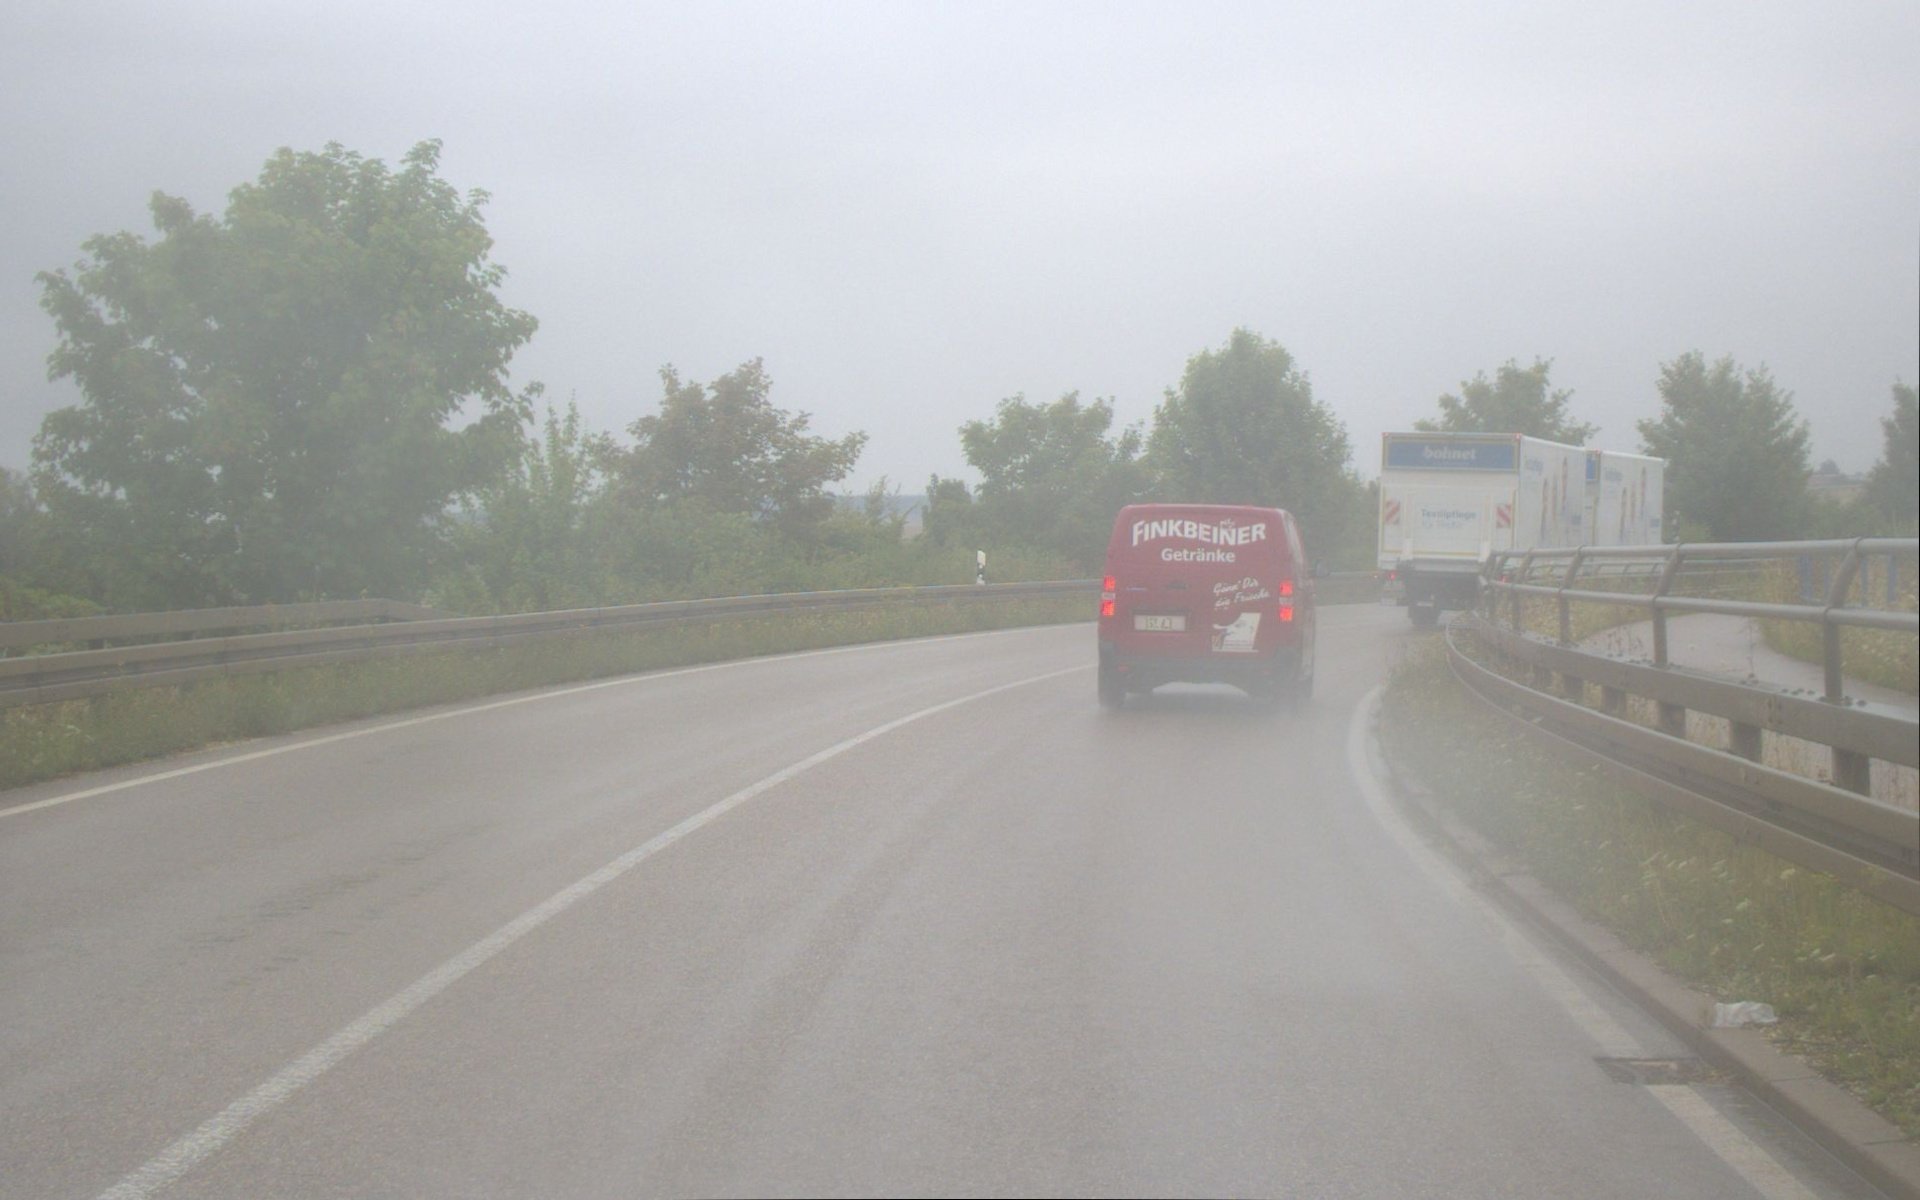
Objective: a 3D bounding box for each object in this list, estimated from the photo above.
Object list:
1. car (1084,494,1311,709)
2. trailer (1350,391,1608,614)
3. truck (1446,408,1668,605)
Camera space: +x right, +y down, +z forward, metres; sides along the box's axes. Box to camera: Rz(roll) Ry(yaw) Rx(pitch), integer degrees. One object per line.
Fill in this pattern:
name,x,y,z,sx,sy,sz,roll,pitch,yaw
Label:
car,2.328,-0.051,32.760,1.994,1.919,4.143,0,2,6
trailer,10.039,-1.823,65.604,3.204,3.908,8.731,2,2,19
truck,12.945,-1.983,73.869,3.204,3.908,8.731,2,2,19
